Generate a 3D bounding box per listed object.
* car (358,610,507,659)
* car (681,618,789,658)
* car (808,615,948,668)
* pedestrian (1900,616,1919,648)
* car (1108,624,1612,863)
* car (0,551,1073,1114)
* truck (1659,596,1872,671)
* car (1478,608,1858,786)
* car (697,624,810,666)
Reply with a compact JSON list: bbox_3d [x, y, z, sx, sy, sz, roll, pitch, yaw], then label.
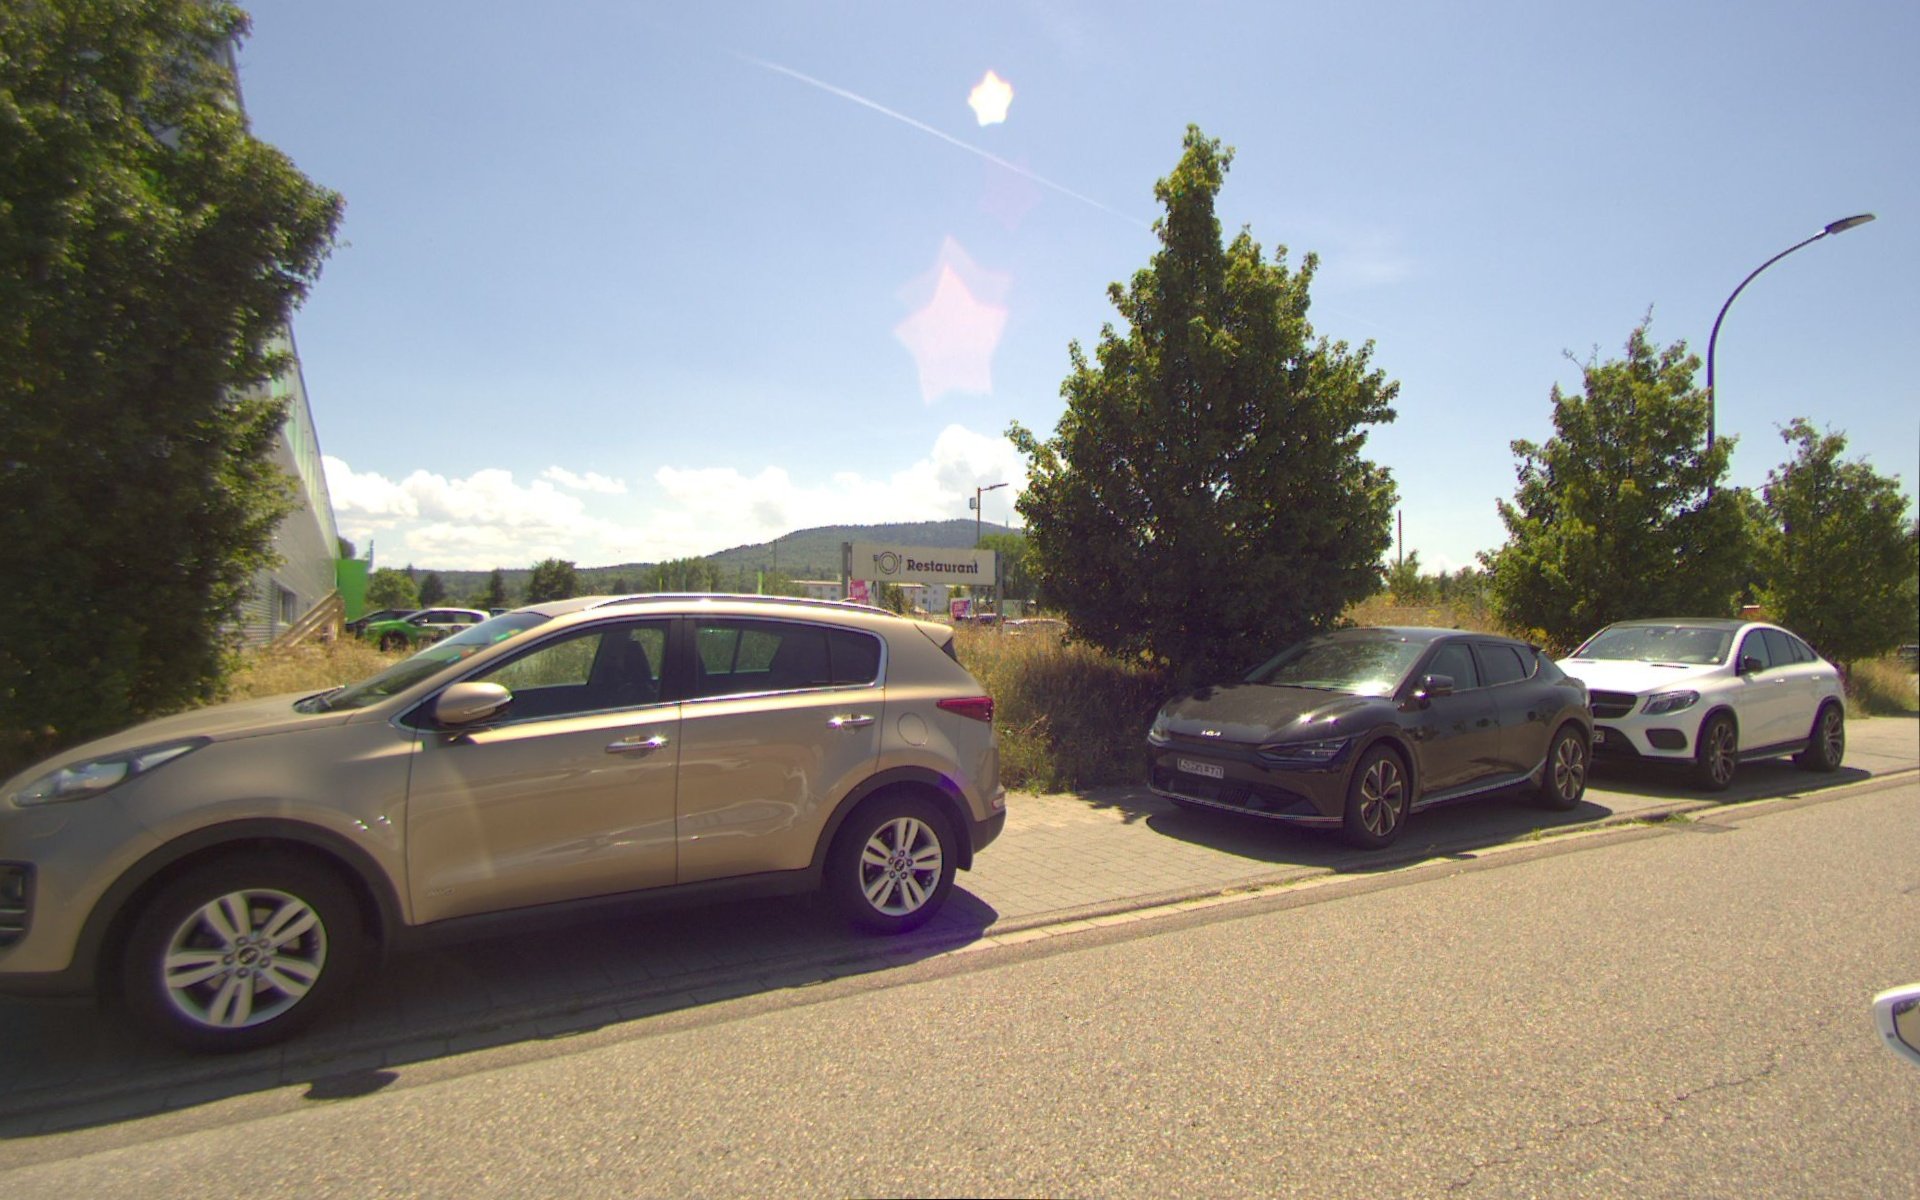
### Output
[{"bbox_3d":[-16.376,1.064,31.240,3.957,1.431,1.982,1,-1,-33],"label":"car"},{"bbox_3d":[-9.284,1.532,41.533,3.957,1.565,1.982,1,-1,-33],"label":"car"},{"bbox_3d":[-2.562,1.266,31.582,3.958,1.565,1.981,1,-1,-34],"label":"car"},{"bbox_3d":[54.081,1.808,57.018,0.732,1.849,0.871,1,-1,-33],"label":"pedestrian"},{"bbox_3d":[3.519,0.979,8.542,4.368,1.511,1.900,1,0,-35],"label":"car"},{"bbox_3d":[-1.744,0.749,4.998,4.364,1.736,1.902,1,0,-32],"label":"car"},{"bbox_3d":[45.309,1.903,56.828,4.122,3.856,8.531,1,-2,-34],"label":"truck"},{"bbox_3d":[8.214,1.005,11.542,4.702,1.677,1.902,1,-3,-32],"label":"car"},{"bbox_3d":[-8.059,1.727,39.237,3.948,1.565,1.987,1,-1,-27],"label":"car"}]
